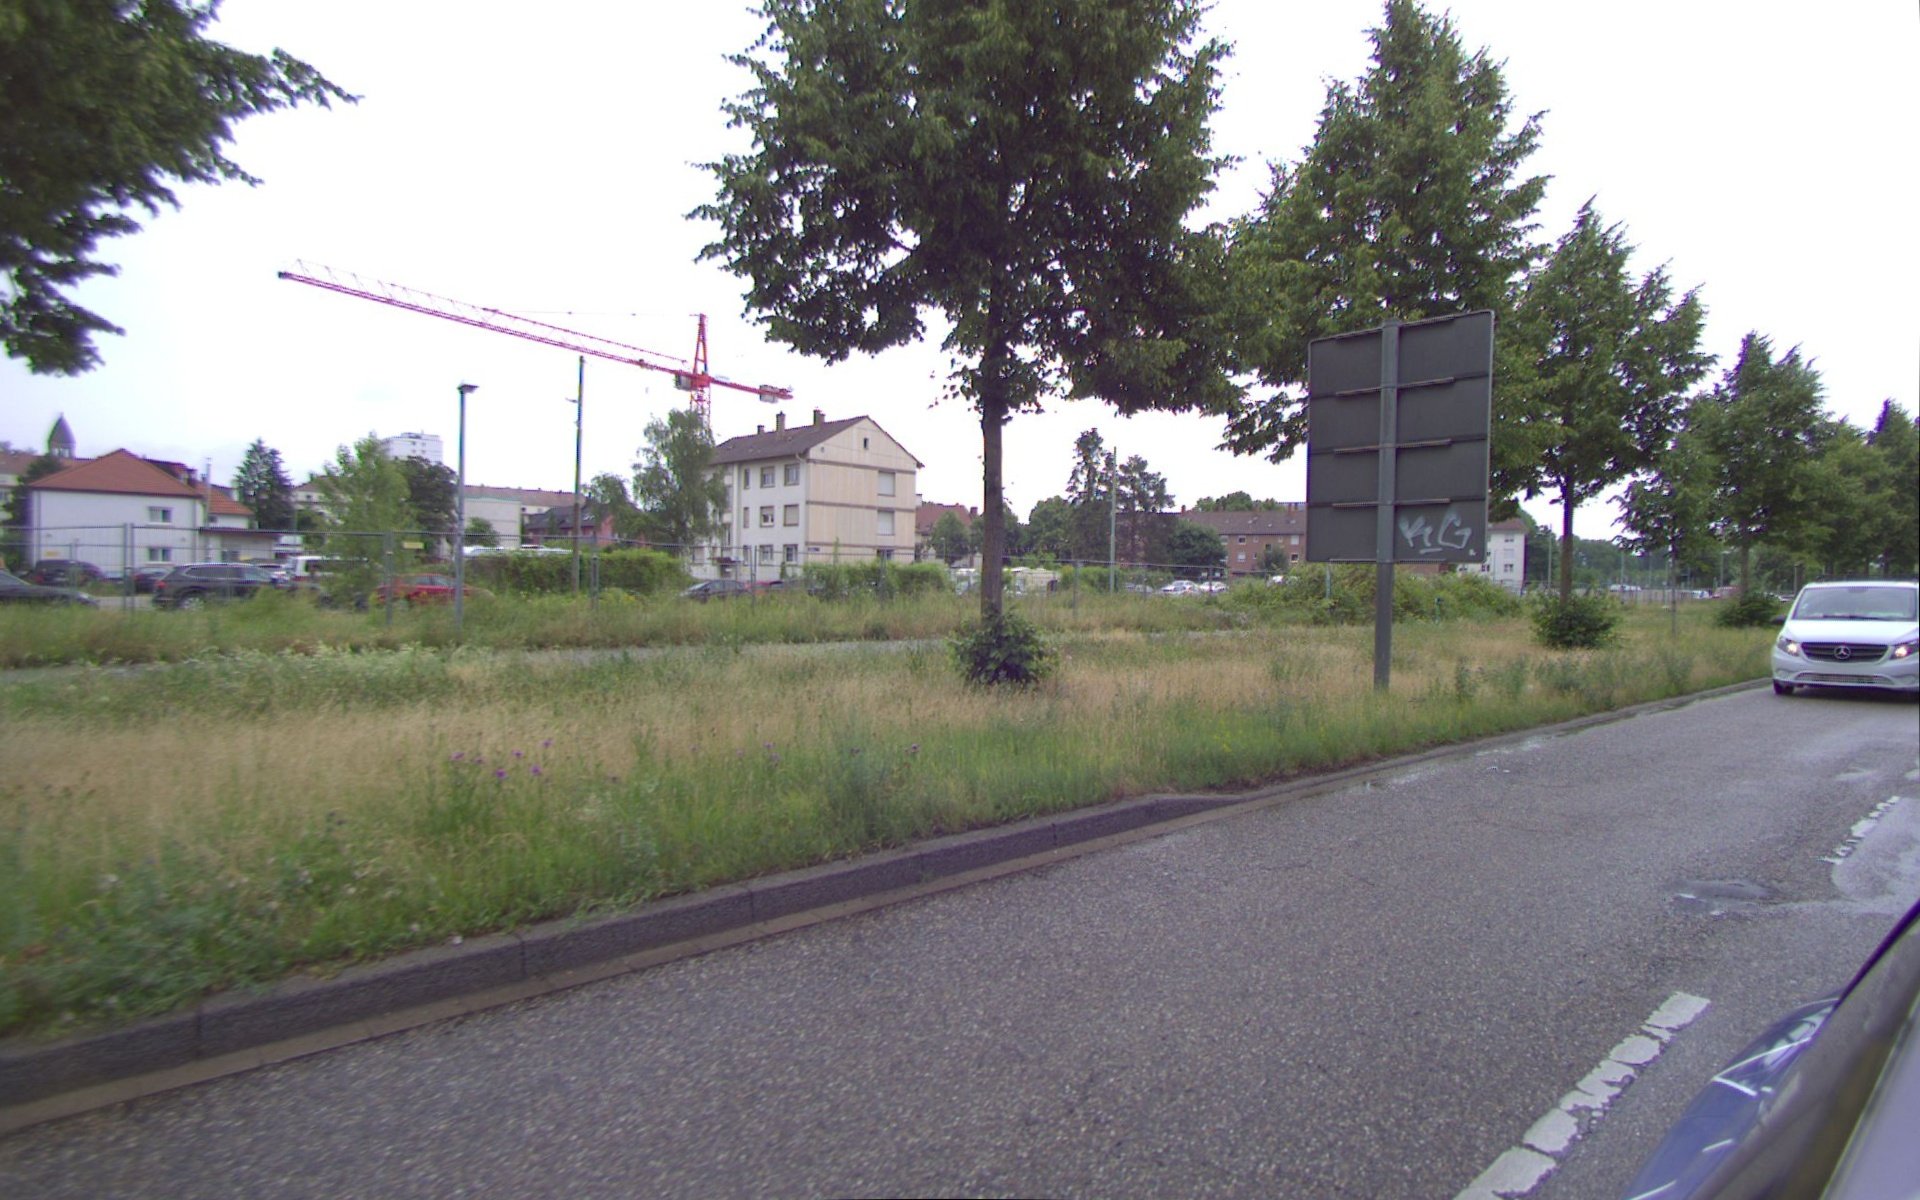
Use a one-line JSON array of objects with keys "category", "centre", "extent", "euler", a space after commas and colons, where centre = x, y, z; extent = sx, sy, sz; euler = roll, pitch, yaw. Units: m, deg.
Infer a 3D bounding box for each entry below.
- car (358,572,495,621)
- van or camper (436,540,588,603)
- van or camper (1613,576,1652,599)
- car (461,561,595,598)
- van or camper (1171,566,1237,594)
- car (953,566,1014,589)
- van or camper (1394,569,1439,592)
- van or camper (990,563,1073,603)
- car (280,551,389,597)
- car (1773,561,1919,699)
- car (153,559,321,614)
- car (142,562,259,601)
[{"category": "car", "centre": [-18.649, -0.141, 35.458], "extent": [3.931, 1.621, 1.858], "euler": [0, 1, -41]}, {"category": "van or camper", "centre": [-23.208, -1.438, 52.598], "extent": [6.659, 3.031, 2.912], "euler": [0, 1, -41]}, {"category": "van or camper", "centre": [92.269, -1.696, 138.870], "extent": [5.400, 3.073, 2.349], "euler": [0, 1, -31]}, {"category": "car", "centre": [-20.772, -0.970, 48.915], "extent": [2.464, 1.664, 5.603], "euler": [1, 1, 30]}, {"category": "van or camper", "centre": [21.436, -1.722, 88.676], "extent": [6.538, 2.336, 2.504], "euler": [0, 0, -44]}, {"category": "car", "centre": [2.002, -1.876, 84.956], "extent": [2.163, 1.918, 5.122], "euler": [2, 2, 45]}, {"category": "van or camper", "centre": [47.306, -1.979, 104.779], "extent": [6.047, 2.336, 2.204], "euler": [0, 1, -44]}, {"category": "van or camper", "centre": [5.145, -1.234, 72.495], "extent": [6.291, 2.722, 2.310], "euler": [0, 2, -44]}, {"category": "car", "centre": [-29.066, -1.197, 47.090], "extent": [4.091, 2.030, 1.699], "euler": [0, 1, -41]}, {"category": "car", "centre": [15.297, 0.388, 16.843], "extent": [5.004, 2.004, 1.970], "euler": [-1, 2, -42]}, {"category": "car", "centre": [-22.503, -0.419, 31.635], "extent": [4.153, 1.621, 1.861], "euler": [0, 1, -36]}, {"category": "car", "centre": [-32.755, -0.792, 43.698], "extent": [3.961, 1.601, 1.699], "euler": [0, 2, -41]}]
